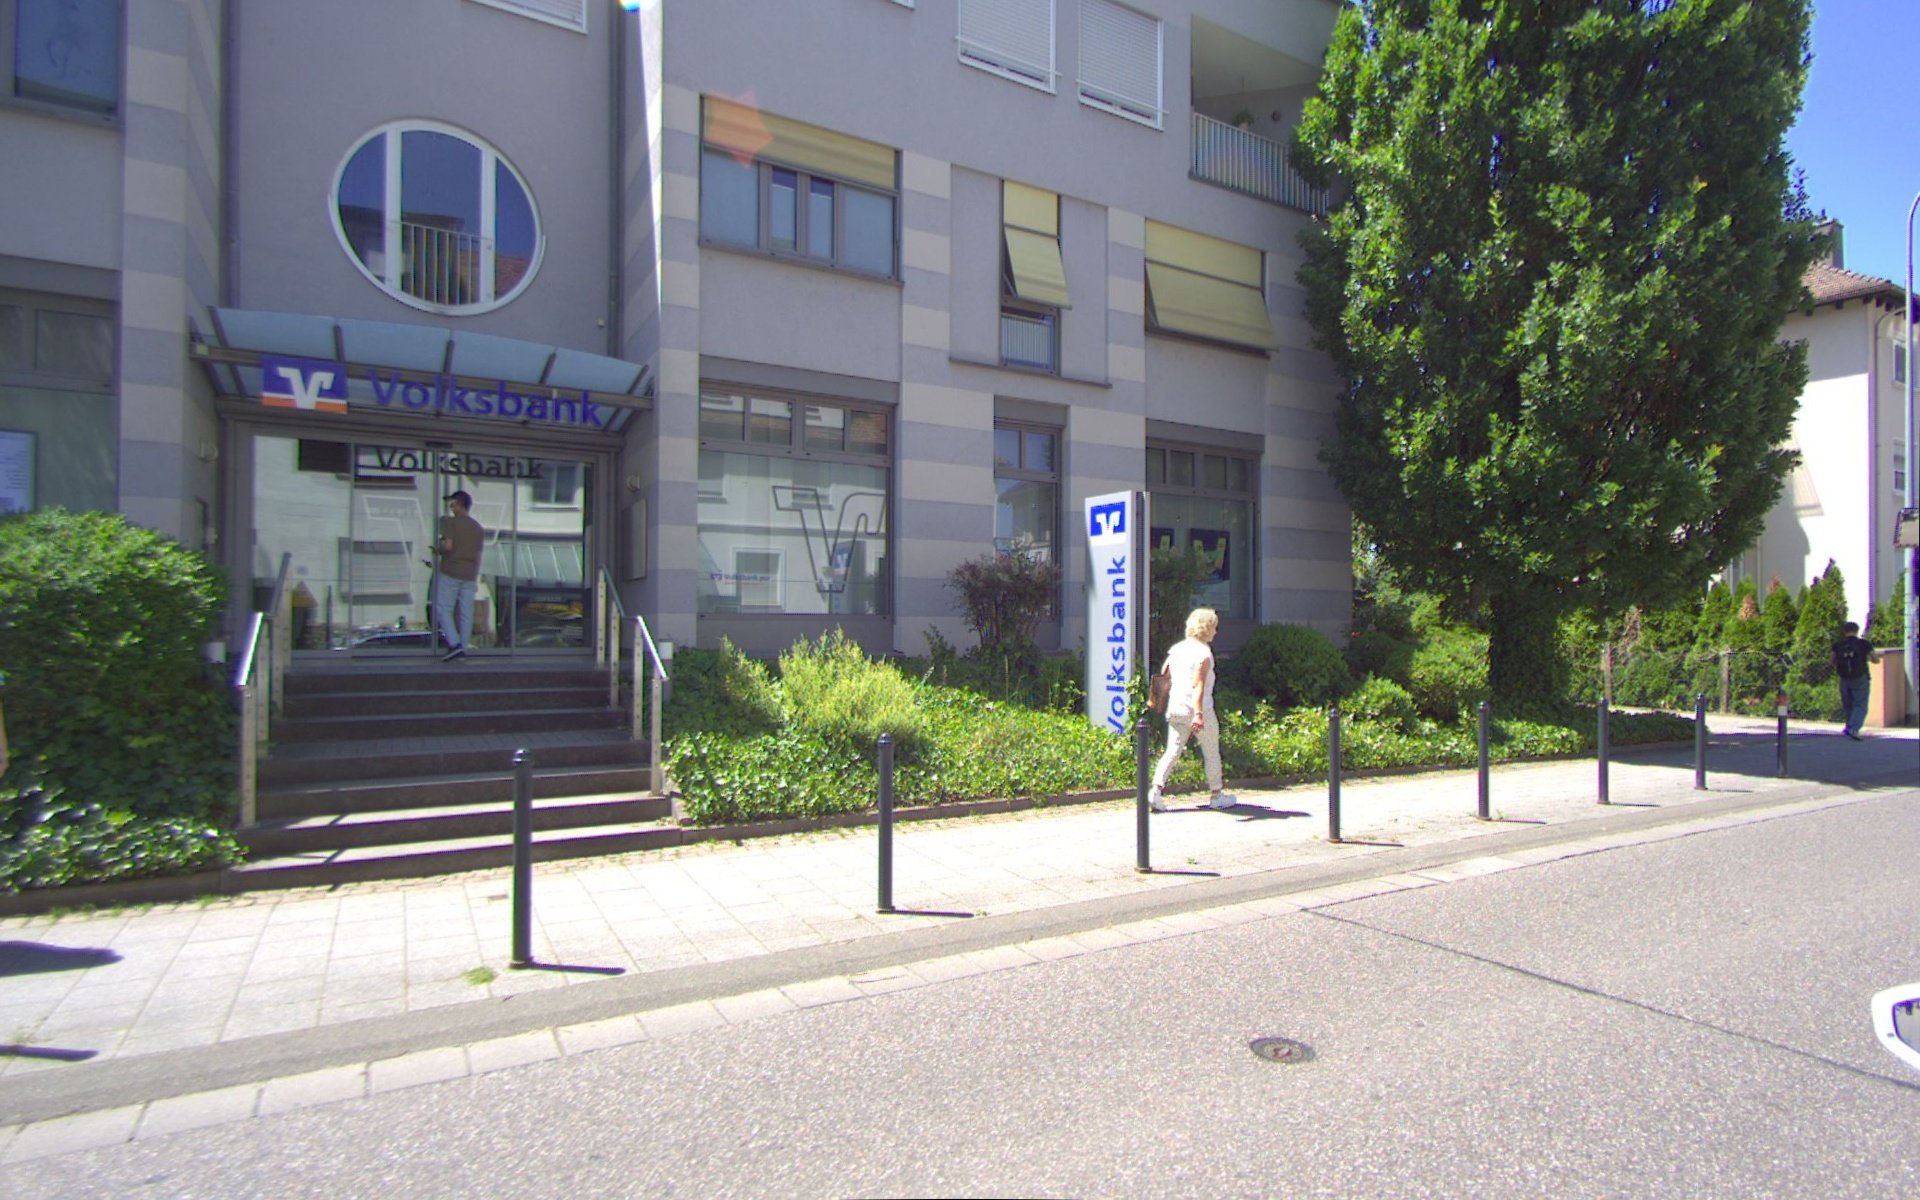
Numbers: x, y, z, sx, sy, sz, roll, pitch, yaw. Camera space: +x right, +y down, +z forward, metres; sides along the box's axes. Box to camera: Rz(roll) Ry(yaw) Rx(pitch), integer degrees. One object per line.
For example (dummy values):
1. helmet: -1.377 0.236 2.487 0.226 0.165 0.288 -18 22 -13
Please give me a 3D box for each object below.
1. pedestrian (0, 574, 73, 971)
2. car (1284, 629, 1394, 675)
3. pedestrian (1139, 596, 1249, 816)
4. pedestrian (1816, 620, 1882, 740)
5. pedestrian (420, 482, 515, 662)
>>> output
1. pedestrian: -4.523 0.712 4.398 0.742 1.667 0.842 2 0 -28
2. car: 12.570 1.702 33.267 3.377 1.439 1.703 1 -2 -31
3. pedestrian: 1.916 0.837 8.226 0.700 1.707 0.534 1 -1 -30
4. pedestrian: 12.994 1.150 14.686 0.700 1.707 0.534 1 -1 -30
5. pedestrian: -5.002 -0.264 10.216 0.570 1.762 0.611 0 -1 25
